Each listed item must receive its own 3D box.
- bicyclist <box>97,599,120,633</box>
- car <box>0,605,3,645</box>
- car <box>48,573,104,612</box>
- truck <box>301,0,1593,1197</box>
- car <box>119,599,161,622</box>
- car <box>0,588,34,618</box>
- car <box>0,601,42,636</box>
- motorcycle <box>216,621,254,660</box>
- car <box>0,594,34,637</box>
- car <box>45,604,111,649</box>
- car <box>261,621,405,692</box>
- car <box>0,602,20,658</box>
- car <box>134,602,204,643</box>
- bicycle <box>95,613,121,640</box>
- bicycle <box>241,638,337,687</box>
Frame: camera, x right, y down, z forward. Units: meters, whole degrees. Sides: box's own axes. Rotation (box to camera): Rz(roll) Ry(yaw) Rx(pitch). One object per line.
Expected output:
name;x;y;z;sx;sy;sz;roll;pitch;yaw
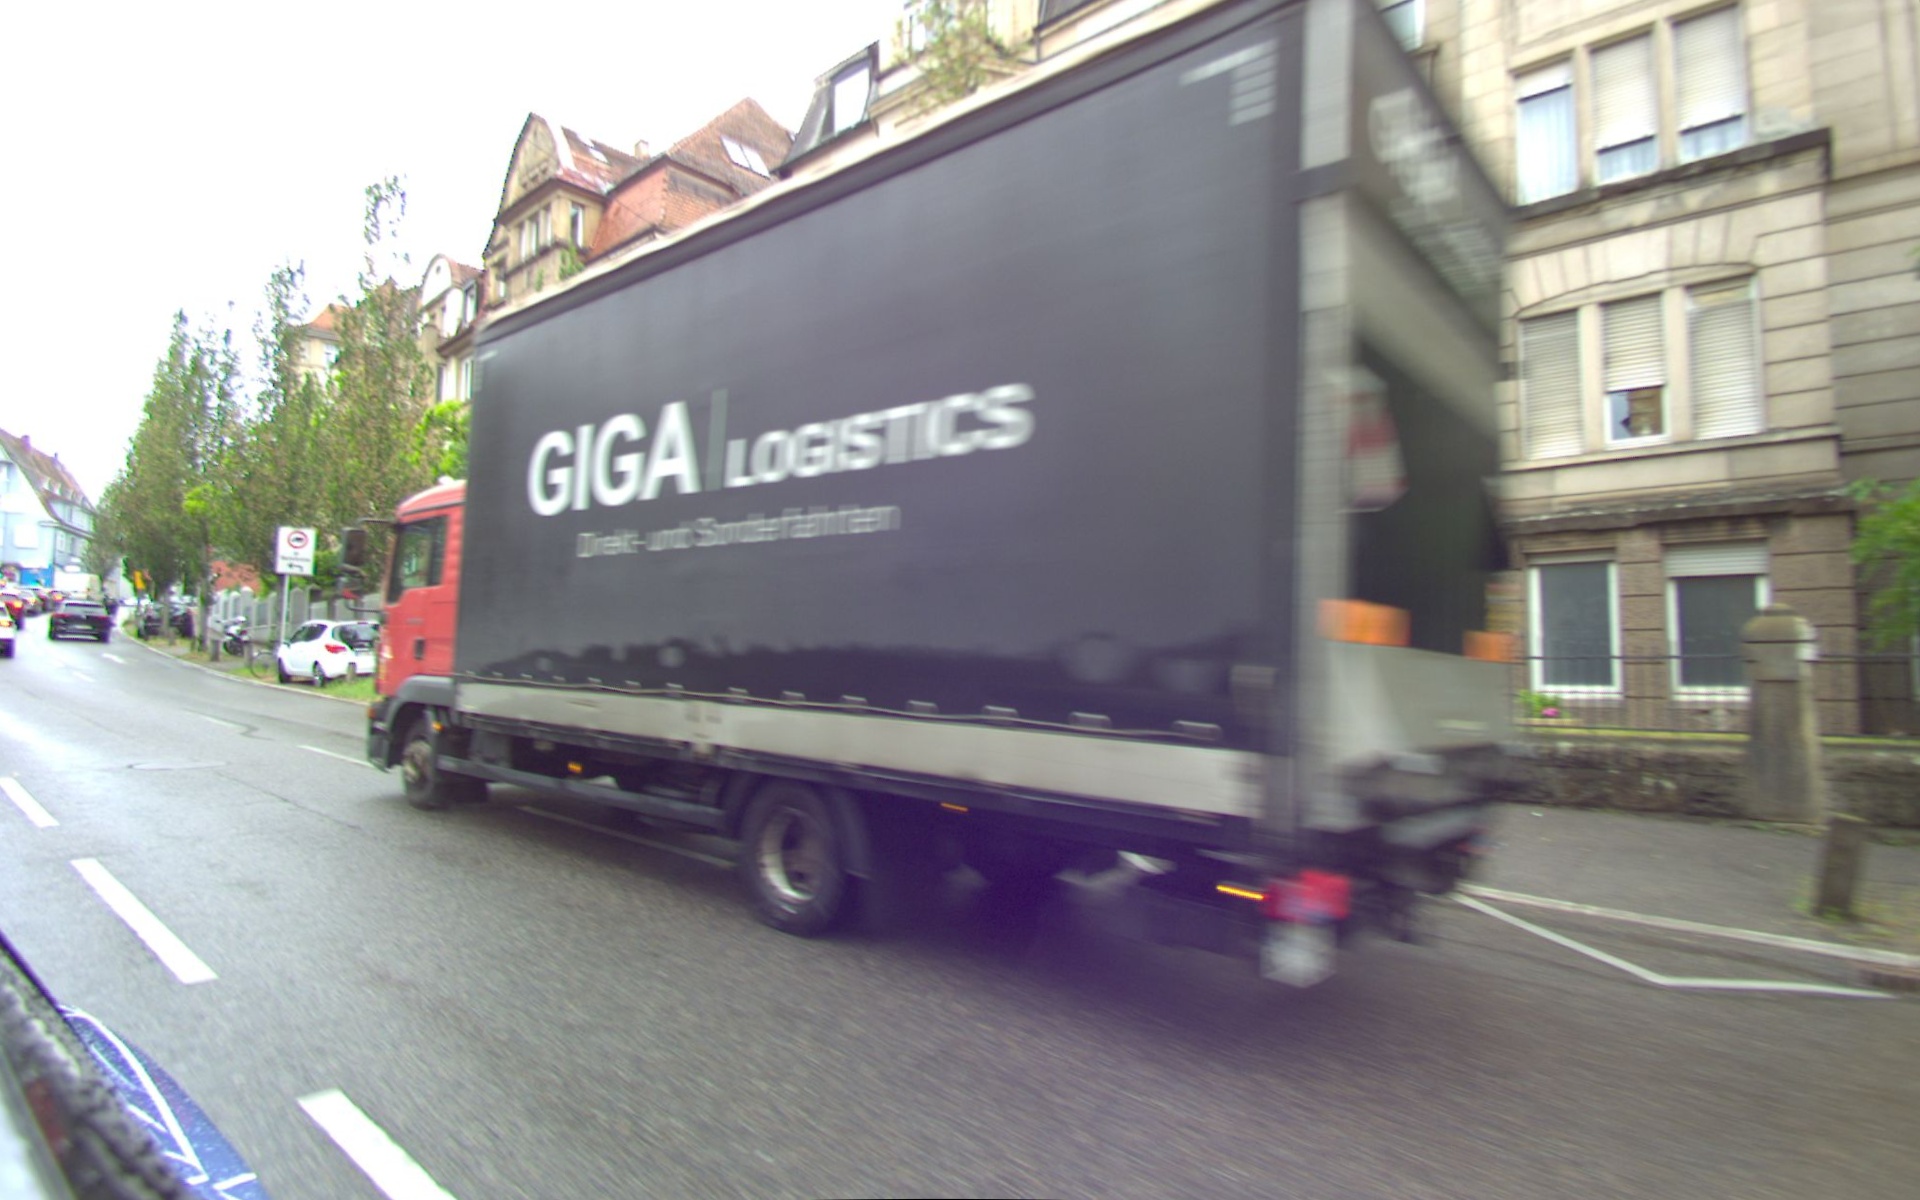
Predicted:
bicyclist;-40.528;0.767;48.174;0.991;1.568;0.648;-1;-4;43
car;-33.459;0.881;34.037;1.742;1.442;3.889;4;-2;-43
car;-64.758;-0.487;74.223;2.101;2.525;5.424;5;-4;-32
truck;-1.332;-0.187;6.893;9.302;3.884;2.620;-1;-5;41
car;-80.828;1.053;99.783;2.100;2.042;5.425;5;-4;-28
car;-57.711;0.208;61.448;1.597;1.674;4.123;6;-5;-36
car;-53.036;1.026;57.129;1.632;1.721;4.119;6;-4;-42
motorcycle;-24.146;1.333;33.681;1.983;1.245;0.648;-1;-4;45
car;-41.625;0.615;44.173;1.632;1.721;4.119;6;-4;-42
car;-34.789;1.015;39.895;1.723;1.529;3.873;8;-5;-43
car;-15.523;1.314;24.976;4.298;1.571;1.724;0;-1;39
car;-28.100;0.809;28.778;4.101;1.529;1.752;-1;-4;44
car;-33.555;0.918;42.904;1.973;1.607;3.831;-1;1;-44
bicycle;-40.532;1.254;48.144;1.982;1.245;0.648;0;-4;43
bicycle;-17.726;1.652;26.783;0.657;1.245;1.955;0;-3;41
